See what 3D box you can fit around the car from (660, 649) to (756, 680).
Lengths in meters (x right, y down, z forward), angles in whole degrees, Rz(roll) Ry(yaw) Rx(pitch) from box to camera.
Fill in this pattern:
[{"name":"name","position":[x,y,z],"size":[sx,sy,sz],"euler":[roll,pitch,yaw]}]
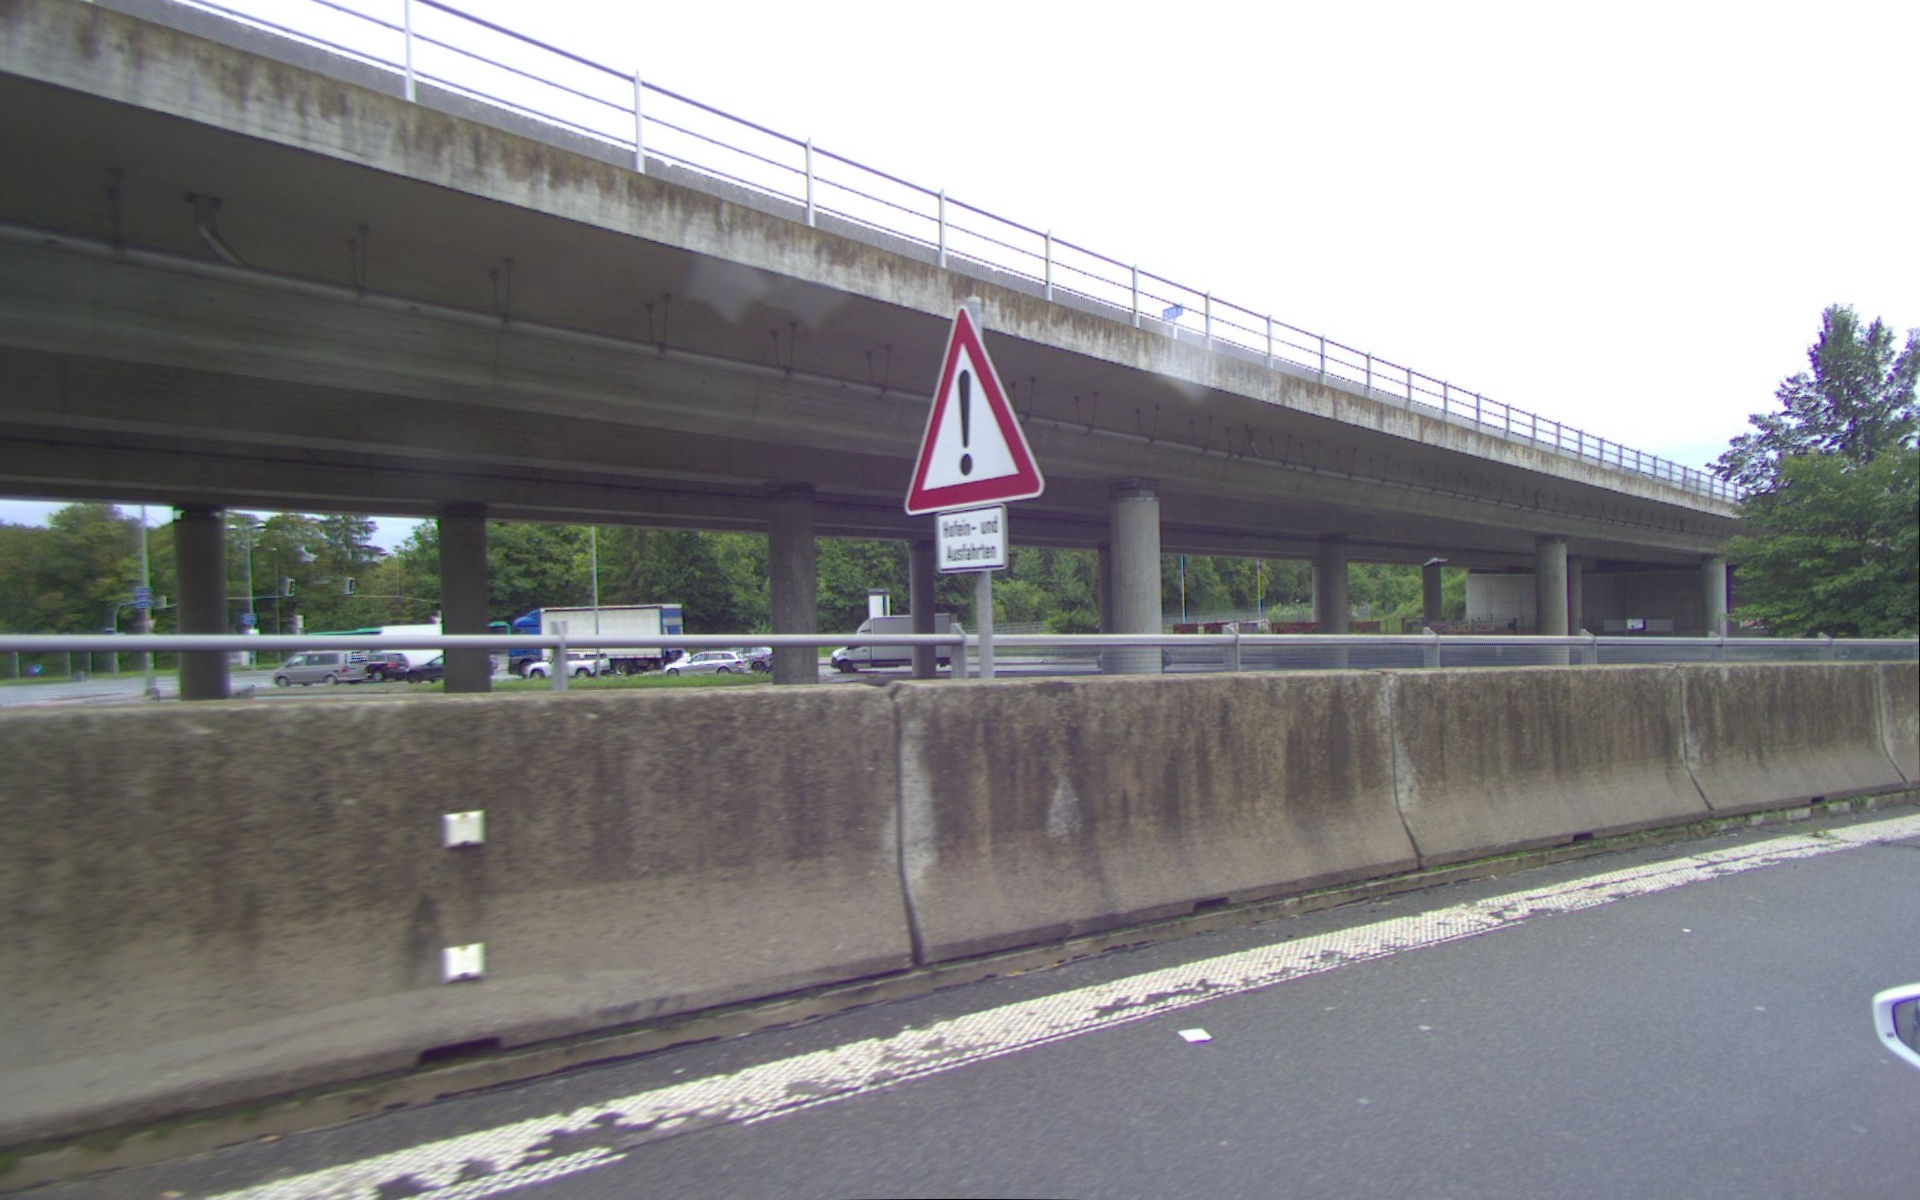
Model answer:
[{"name":"car","position":[-13.325,3.400,53.237],"size":[4.498,1.604,1.977],"euler":[-1,-2,7]}]

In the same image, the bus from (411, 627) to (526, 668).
[{"name":"bus","position":[-47.750,4.657,97.723],"size":[9.807,3.750,2.211],"euler":[2,-1,-33]}]

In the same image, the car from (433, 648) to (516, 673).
[{"name":"car","position":[-31.458,3.920,65.145],"size":[4.498,1.604,1.977],"euler":[-1,-2,9]}]

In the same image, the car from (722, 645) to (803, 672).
[{"name":"car","position":[-12.213,3.613,62.255],"size":[4.498,1.604,1.977],"euler":[-1,-2,9]}]

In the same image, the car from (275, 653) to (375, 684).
[{"name":"car","position":[-35.582,3.820,56.323],"size":[4.498,1.627,1.977],"euler":[0,-2,7]}]

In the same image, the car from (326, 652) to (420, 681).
[{"name":"car","position":[-34.615,3.904,59.281],"size":[4.498,1.627,1.977],"euler":[0,-2,7]}]

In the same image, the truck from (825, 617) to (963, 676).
[{"name":"truck","position":[-3.545,2.477,54.606],"size":[7.086,3.016,2.262],"euler":[1,-2,10]}]

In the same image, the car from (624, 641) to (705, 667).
[{"name":"car","position":[-18.591,3.413,63.270],"size":[4.498,1.604,1.977],"euler":[-1,-2,9]}]

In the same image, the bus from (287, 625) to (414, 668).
[{"name":"bus","position":[-55.963,4.328,92.431],"size":[9.807,3.750,2.211],"euler":[2,-1,-33]}]

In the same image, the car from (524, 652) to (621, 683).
[{"name":"car","position":[-20.928,3.615,54.317],"size":[4.498,1.604,1.977],"euler":[-1,-2,7]}]

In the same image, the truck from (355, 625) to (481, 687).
[{"name":"truck","position":[-33.769,3.479,62.680],"size":[6.508,3.728,2.801],"euler":[-1,-2,9]}]

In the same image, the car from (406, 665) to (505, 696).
[{"name":"car","position":[-27.703,4.406,55.212],"size":[4.498,1.604,1.977],"euler":[-1,-2,7]}]

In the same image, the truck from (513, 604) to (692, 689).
[{"name":"truck","position":[-20.354,2.649,57.363],"size":[9.406,4.652,2.801],"euler":[-1,-2,9]}]

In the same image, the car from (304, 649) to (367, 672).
[{"name":"car","position":[-51.233,4.928,82.446],"size":[1.771,1.728,3.984],"euler":[-3,-2,38]}]

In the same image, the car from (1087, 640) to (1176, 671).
[{"name":"car","position":[8.954,2.906,52.768],"size":[4.498,1.604,1.977],"euler":[-1,-2,7]}]

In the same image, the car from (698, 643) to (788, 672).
[{"name":"car","position":[-12.049,3.200,56.020],"size":[4.498,1.604,1.977],"euler":[-1,-2,9]}]
